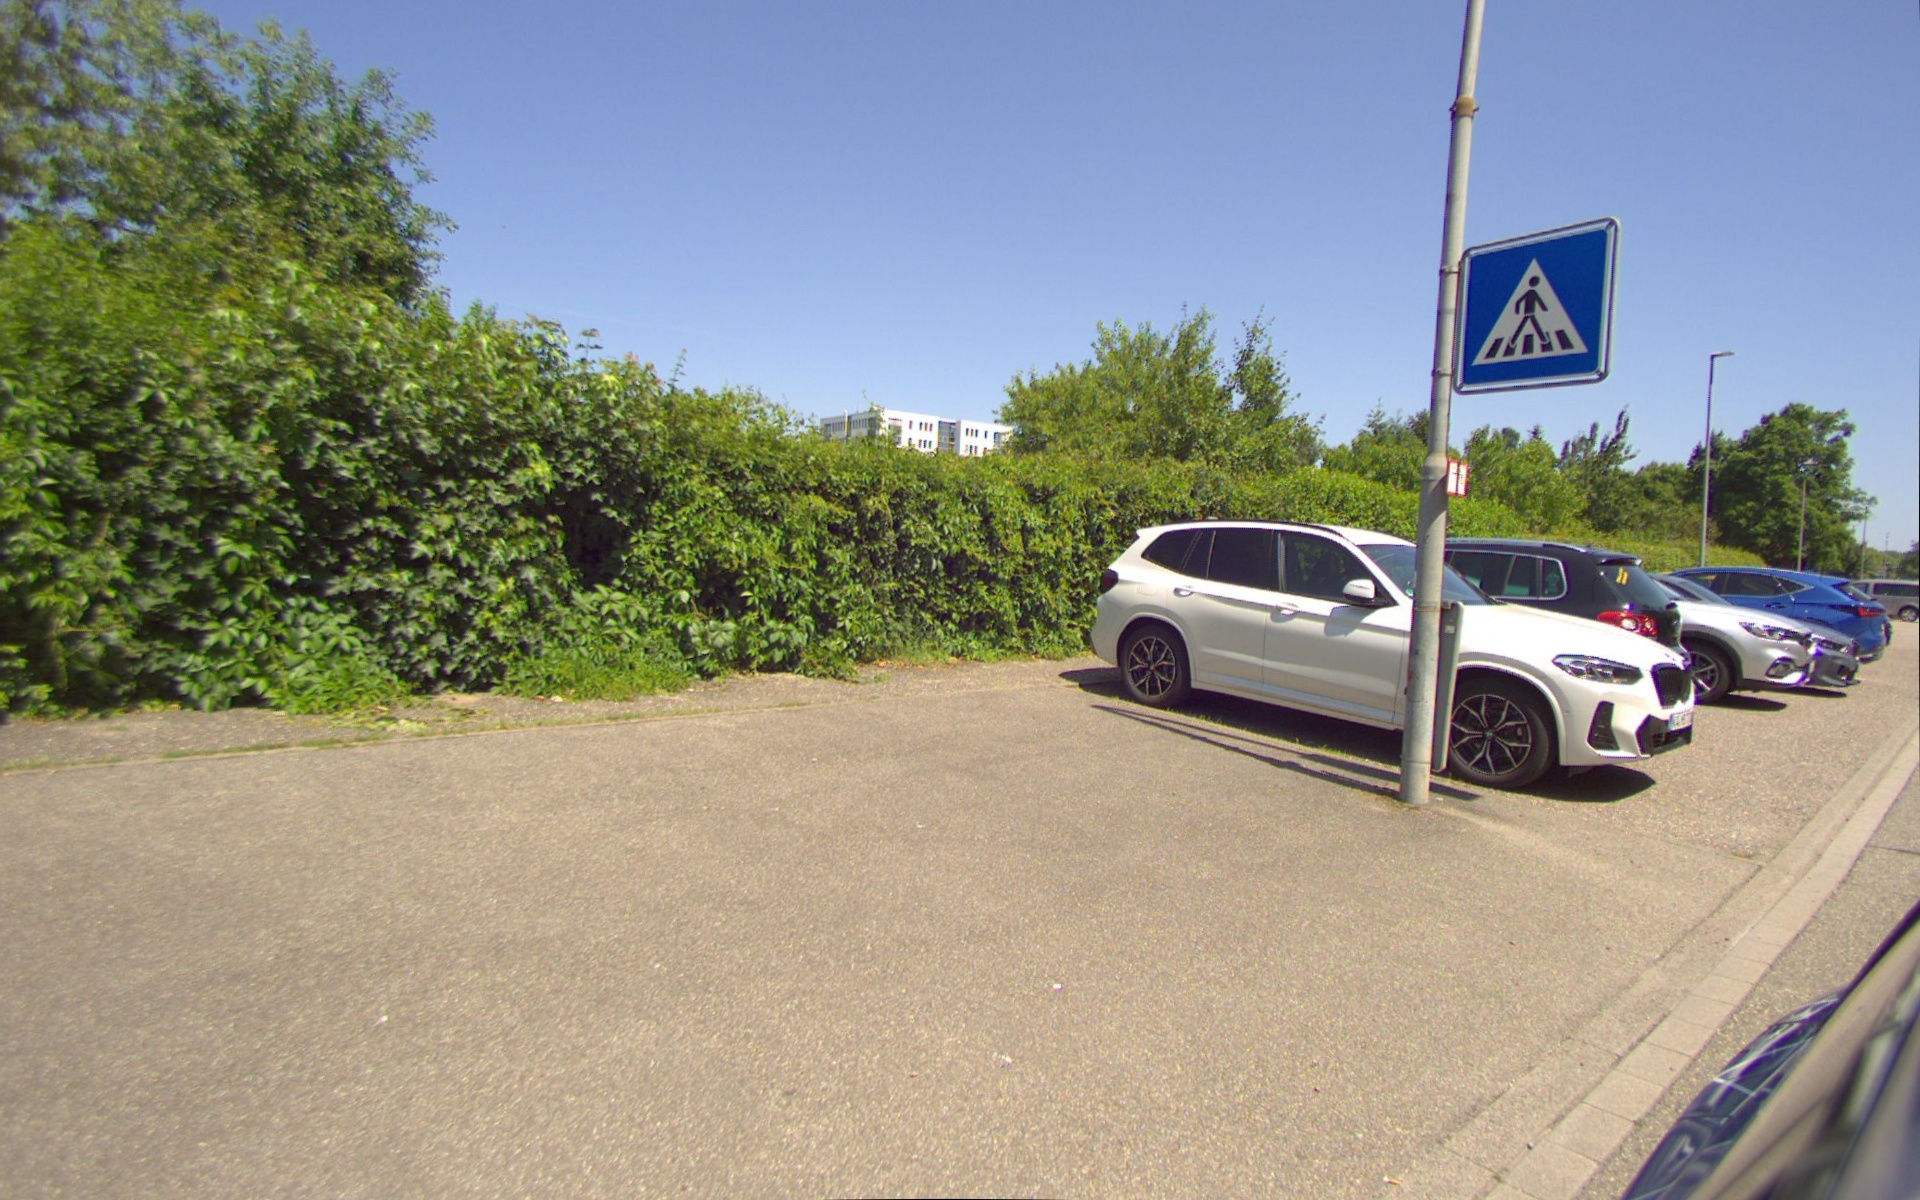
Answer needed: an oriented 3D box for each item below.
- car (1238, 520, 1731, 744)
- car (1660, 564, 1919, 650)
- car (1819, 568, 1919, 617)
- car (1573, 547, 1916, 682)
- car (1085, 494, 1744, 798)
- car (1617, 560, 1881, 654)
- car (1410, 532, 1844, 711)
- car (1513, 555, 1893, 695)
[{"bbox_3d":[5.057,0.138,10.202,1.736,1.705,3.982,0,5,-41],"label":"car"},{"bbox_3d":[18.604,0.076,22.867,1.621,1.434,4.251,-1,6,-41],"label":"car"},{"bbox_3d":[42.174,-0.319,46.021,4.485,1.872,1.669,8,6,44],"label":"car"},{"bbox_3d":[12.497,0.116,16.342,1.645,1.660,4.036,-1,6,-41],"label":"car"},{"bbox_3d":[3.316,0.078,8.218,1.819,1.749,4.465,-1,6,-40],"label":"car"},{"bbox_3d":[16.327,0.065,21.124,1.621,1.463,4.036,-1,6,-41],"label":"car"},{"bbox_3d":[8.159,0.116,12.688,1.747,1.660,4.166,-1,6,-44],"label":"car"},{"bbox_3d":[10.397,0.231,14.413,1.651,1.425,4.034,-1,6,-42],"label":"car"}]
